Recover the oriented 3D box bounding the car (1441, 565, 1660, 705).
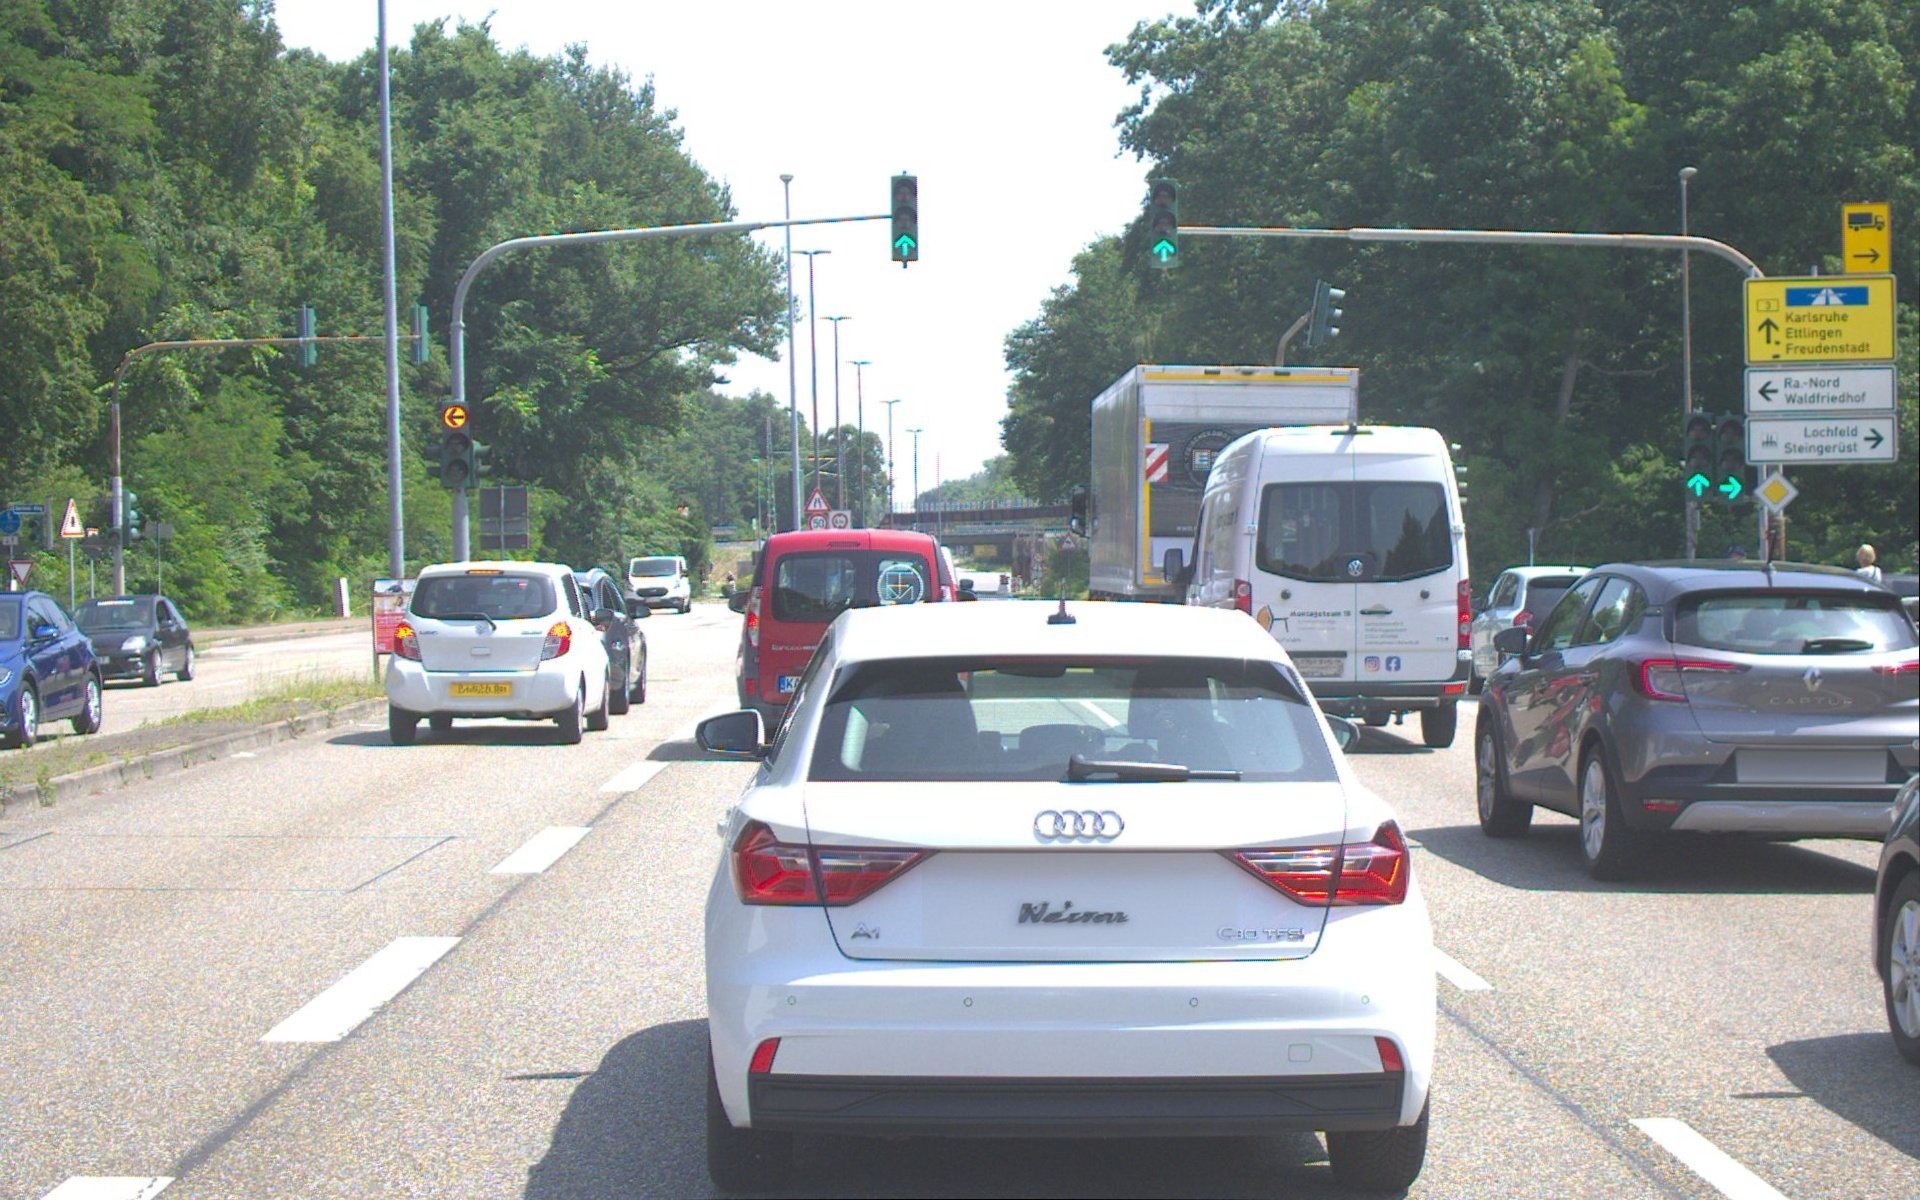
[{"bbox_3d":[6.829,0.367,40.126,1.711,1.541,4.092,0,1,-2],"label":"car"}]

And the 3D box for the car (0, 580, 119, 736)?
[{"bbox_3d":[-9.214,0.559,31.940,1.804,1.331,4.000,-4,1,-1],"label":"car"}]

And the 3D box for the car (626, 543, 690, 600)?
[{"bbox_3d":[-10.177,-0.976,115.955,1.872,1.854,4.000,-1,1,-1],"label":"car"}]

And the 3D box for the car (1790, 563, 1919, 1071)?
[{"bbox_3d":[3.697,0.678,9.313,1.711,1.473,4.092,3,1,-2],"label":"car"}]

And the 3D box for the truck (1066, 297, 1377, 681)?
[{"bbox_3d":[3.201,-1.355,45.533,3.088,4.419,11.580,0,1,-1],"label":"truck"}]

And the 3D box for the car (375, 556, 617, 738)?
[{"bbox_3d":[-4.008,0.361,30.240,1.711,1.487,4.092,0,1,-2],"label":"car"}]

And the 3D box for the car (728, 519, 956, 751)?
[{"bbox_3d":[-0.961,0.238,27.944,1.711,1.742,4.092,0,1,-2],"label":"car"}]

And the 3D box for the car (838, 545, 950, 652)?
[{"bbox_3d":[-1.077,-0.052,54.502,1.711,1.626,4.092,0,1,-2],"label":"car"}]

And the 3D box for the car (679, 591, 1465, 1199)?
[{"bbox_3d":[0.171,0.686,9.522,1.711,1.381,4.092,0,1,-2],"label":"car"}]

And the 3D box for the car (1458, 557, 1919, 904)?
[{"bbox_3d":[3.804,0.572,17.817,1.711,1.588,4.092,0,1,-2],"label":"car"}]

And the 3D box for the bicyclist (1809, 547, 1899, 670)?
[{"bbox_3d":[10.604,0.098,40.776,0.828,1.434,0.598,-1,1,45],"label":"bicyclist"}]

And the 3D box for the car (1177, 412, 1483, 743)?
[{"bbox_3d":[3.104,-0.212,29.838,2.031,2.635,4.845,0,1,-1],"label":"car"}]

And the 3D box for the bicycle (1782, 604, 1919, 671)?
[{"bbox_3d":[10.695,0.439,40.704,0.599,0.763,1.826,-2,1,-45],"label":"bicycle"}]

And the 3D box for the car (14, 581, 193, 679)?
[{"bbox_3d":[-13.453,0.447,54.203,1.804,1.331,4.000,-4,1,-1],"label":"car"}]
